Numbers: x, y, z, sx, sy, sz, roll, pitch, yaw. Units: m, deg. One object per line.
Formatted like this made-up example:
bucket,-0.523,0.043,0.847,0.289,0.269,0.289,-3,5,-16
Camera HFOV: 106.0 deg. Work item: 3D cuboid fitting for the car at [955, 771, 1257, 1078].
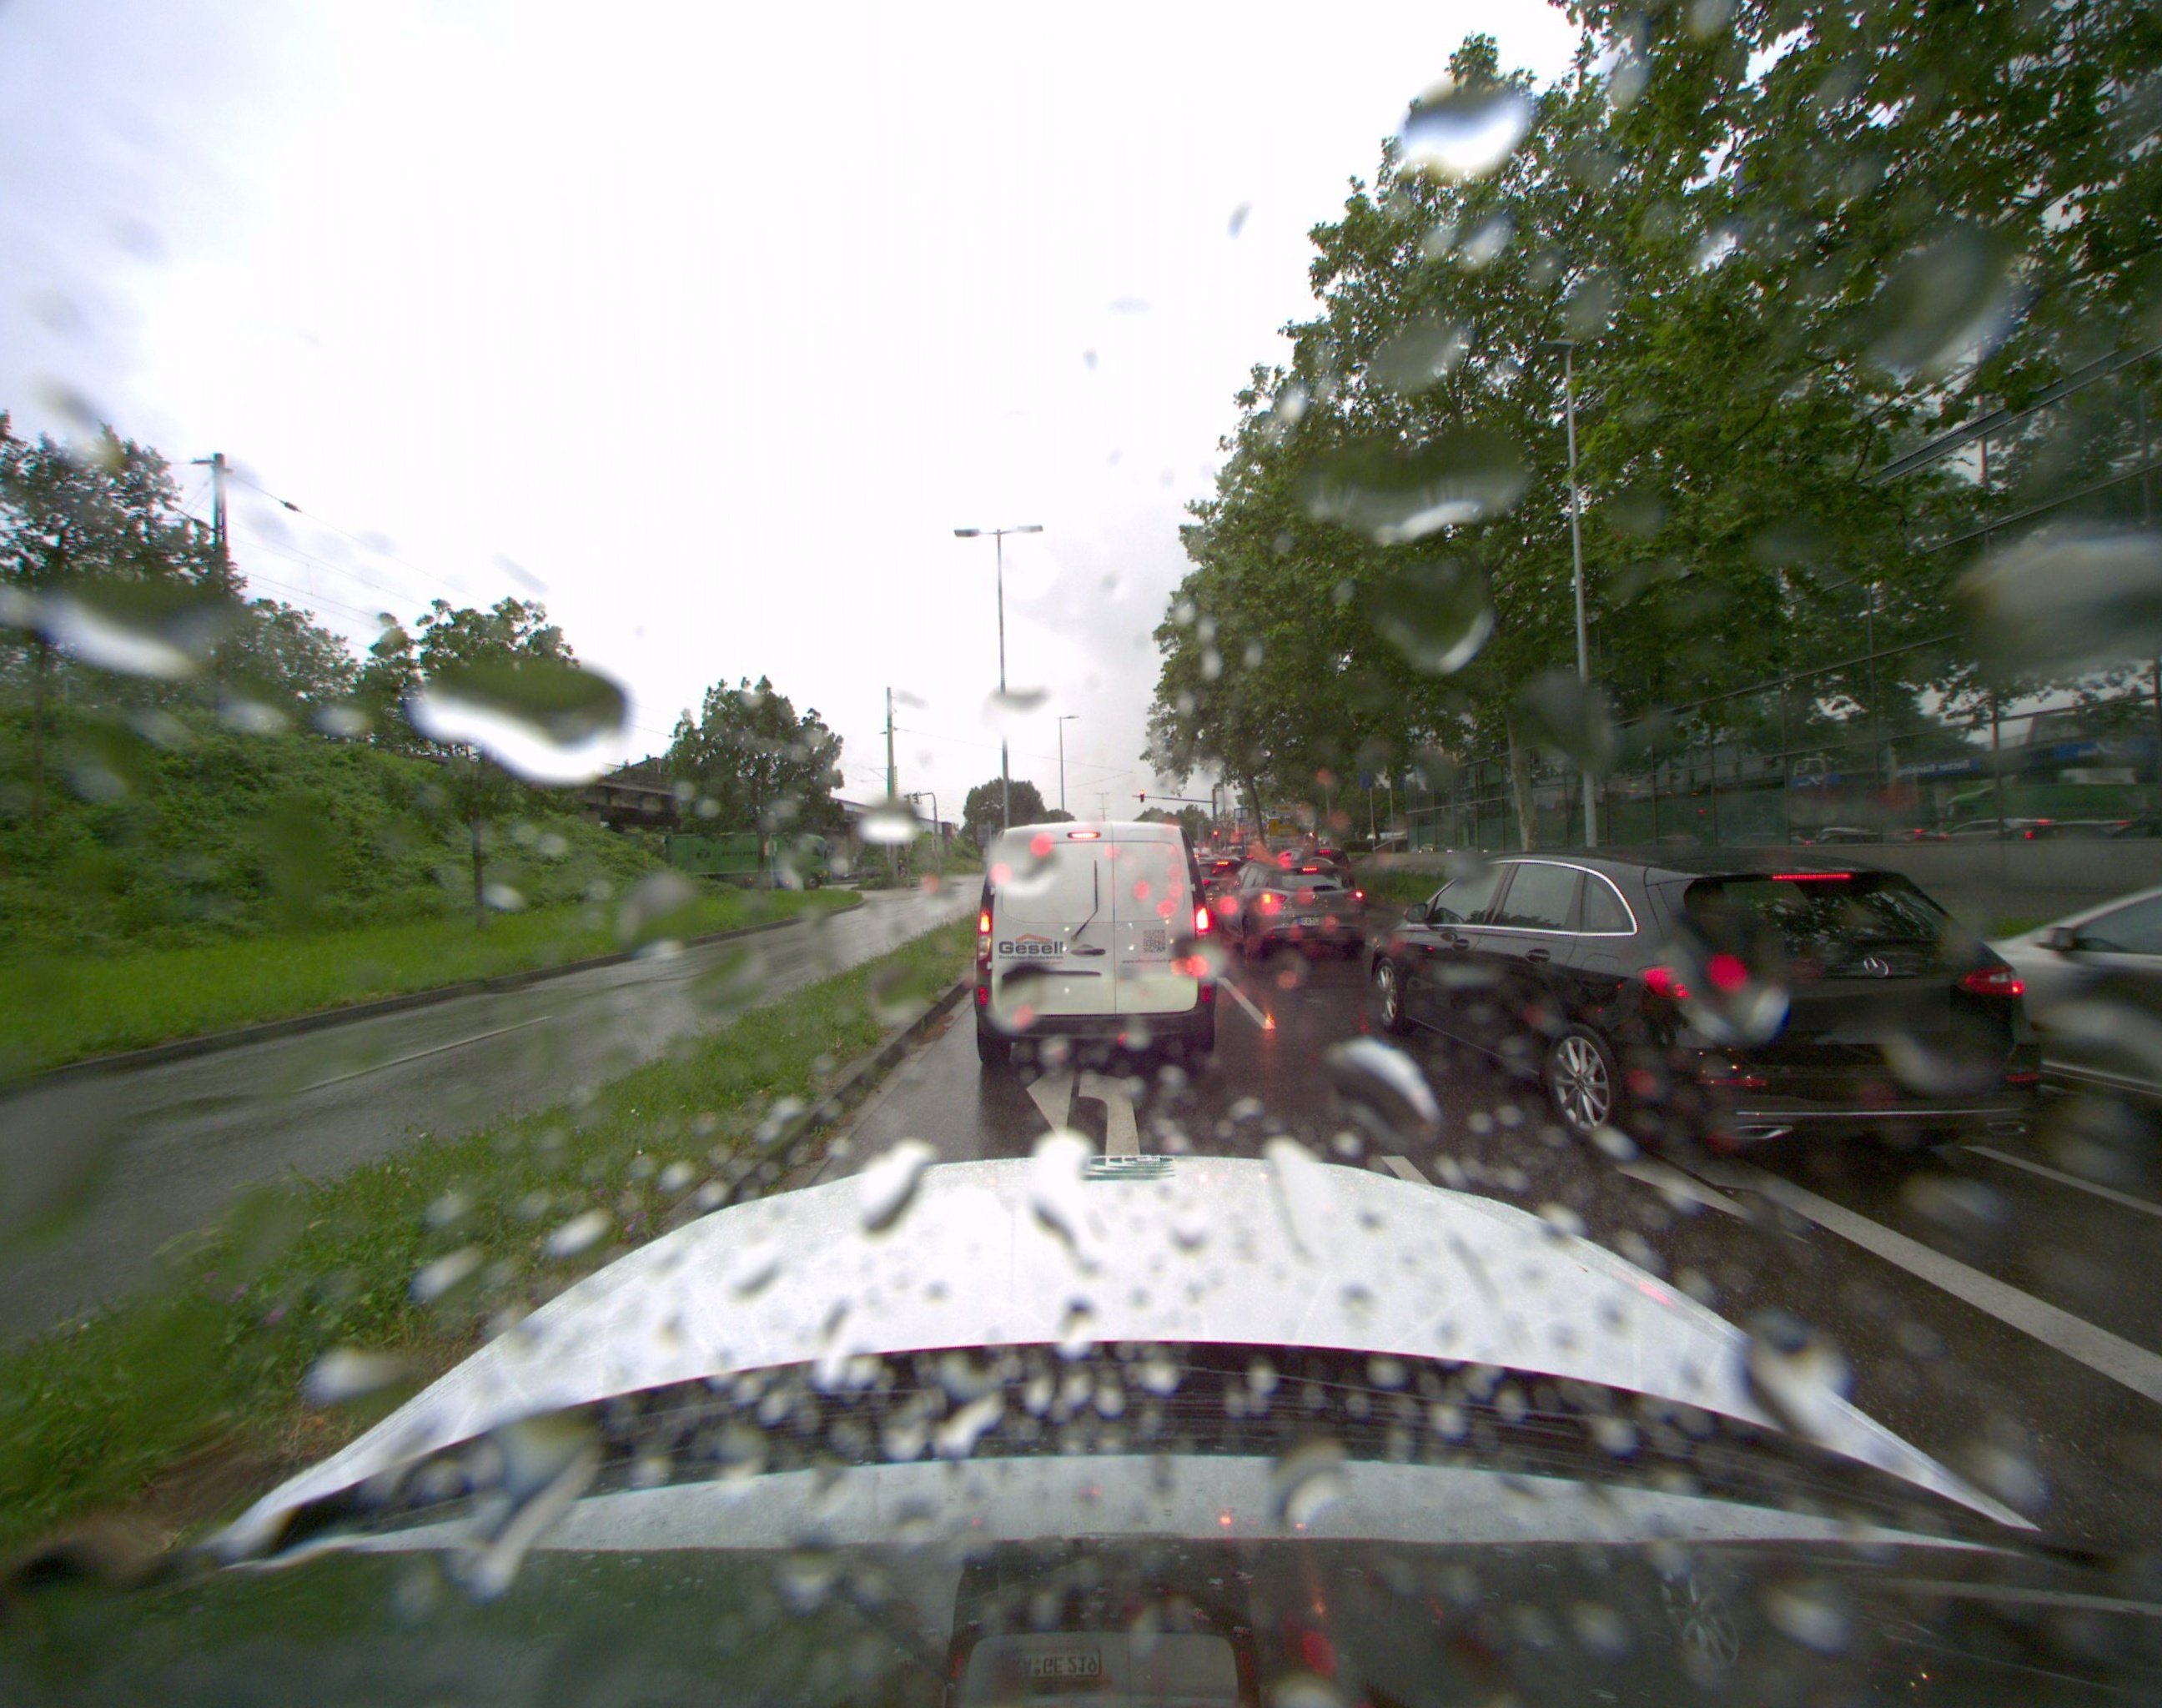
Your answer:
car,0.175,0.482,7.441,1.987,2.014,3.999,-1,-1,0

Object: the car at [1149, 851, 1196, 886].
car,3.974,0.598,35.882,1.705,1.445,4.001,-1,0,2

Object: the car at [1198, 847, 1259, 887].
car,6.037,0.543,33.817,1.833,1.537,4.111,-1,-1,1

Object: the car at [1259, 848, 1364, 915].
car,6.539,0.749,23.566,1.850,1.726,4.190,-1,-1,0

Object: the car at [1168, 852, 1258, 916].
car,3.235,0.682,20.666,1.705,1.445,4.001,-1,0,2

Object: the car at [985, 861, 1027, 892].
car,-4.169,1.212,45.883,1.819,1.568,4.002,-3,0,2

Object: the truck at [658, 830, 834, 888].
truck,-21.347,0.354,52.417,10.184,3.452,2.629,0,-2,-36

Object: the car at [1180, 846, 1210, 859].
car,16.516,-0.195,117.570,3.952,1.713,1.782,-2,-2,22

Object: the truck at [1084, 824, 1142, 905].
truck,1.008,0.350,27.150,1.751,2.466,3.999,-1,-1,0

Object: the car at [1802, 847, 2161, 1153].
car,6.012,0.679,3.619,1.796,1.430,4.388,-2,-1,2

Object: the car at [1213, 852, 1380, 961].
car,3.267,0.705,13.117,1.705,1.445,4.001,-1,0,2

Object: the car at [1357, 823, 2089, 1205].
car,3.366,0.645,5.400,1.703,1.550,4.000,-1,1,0
